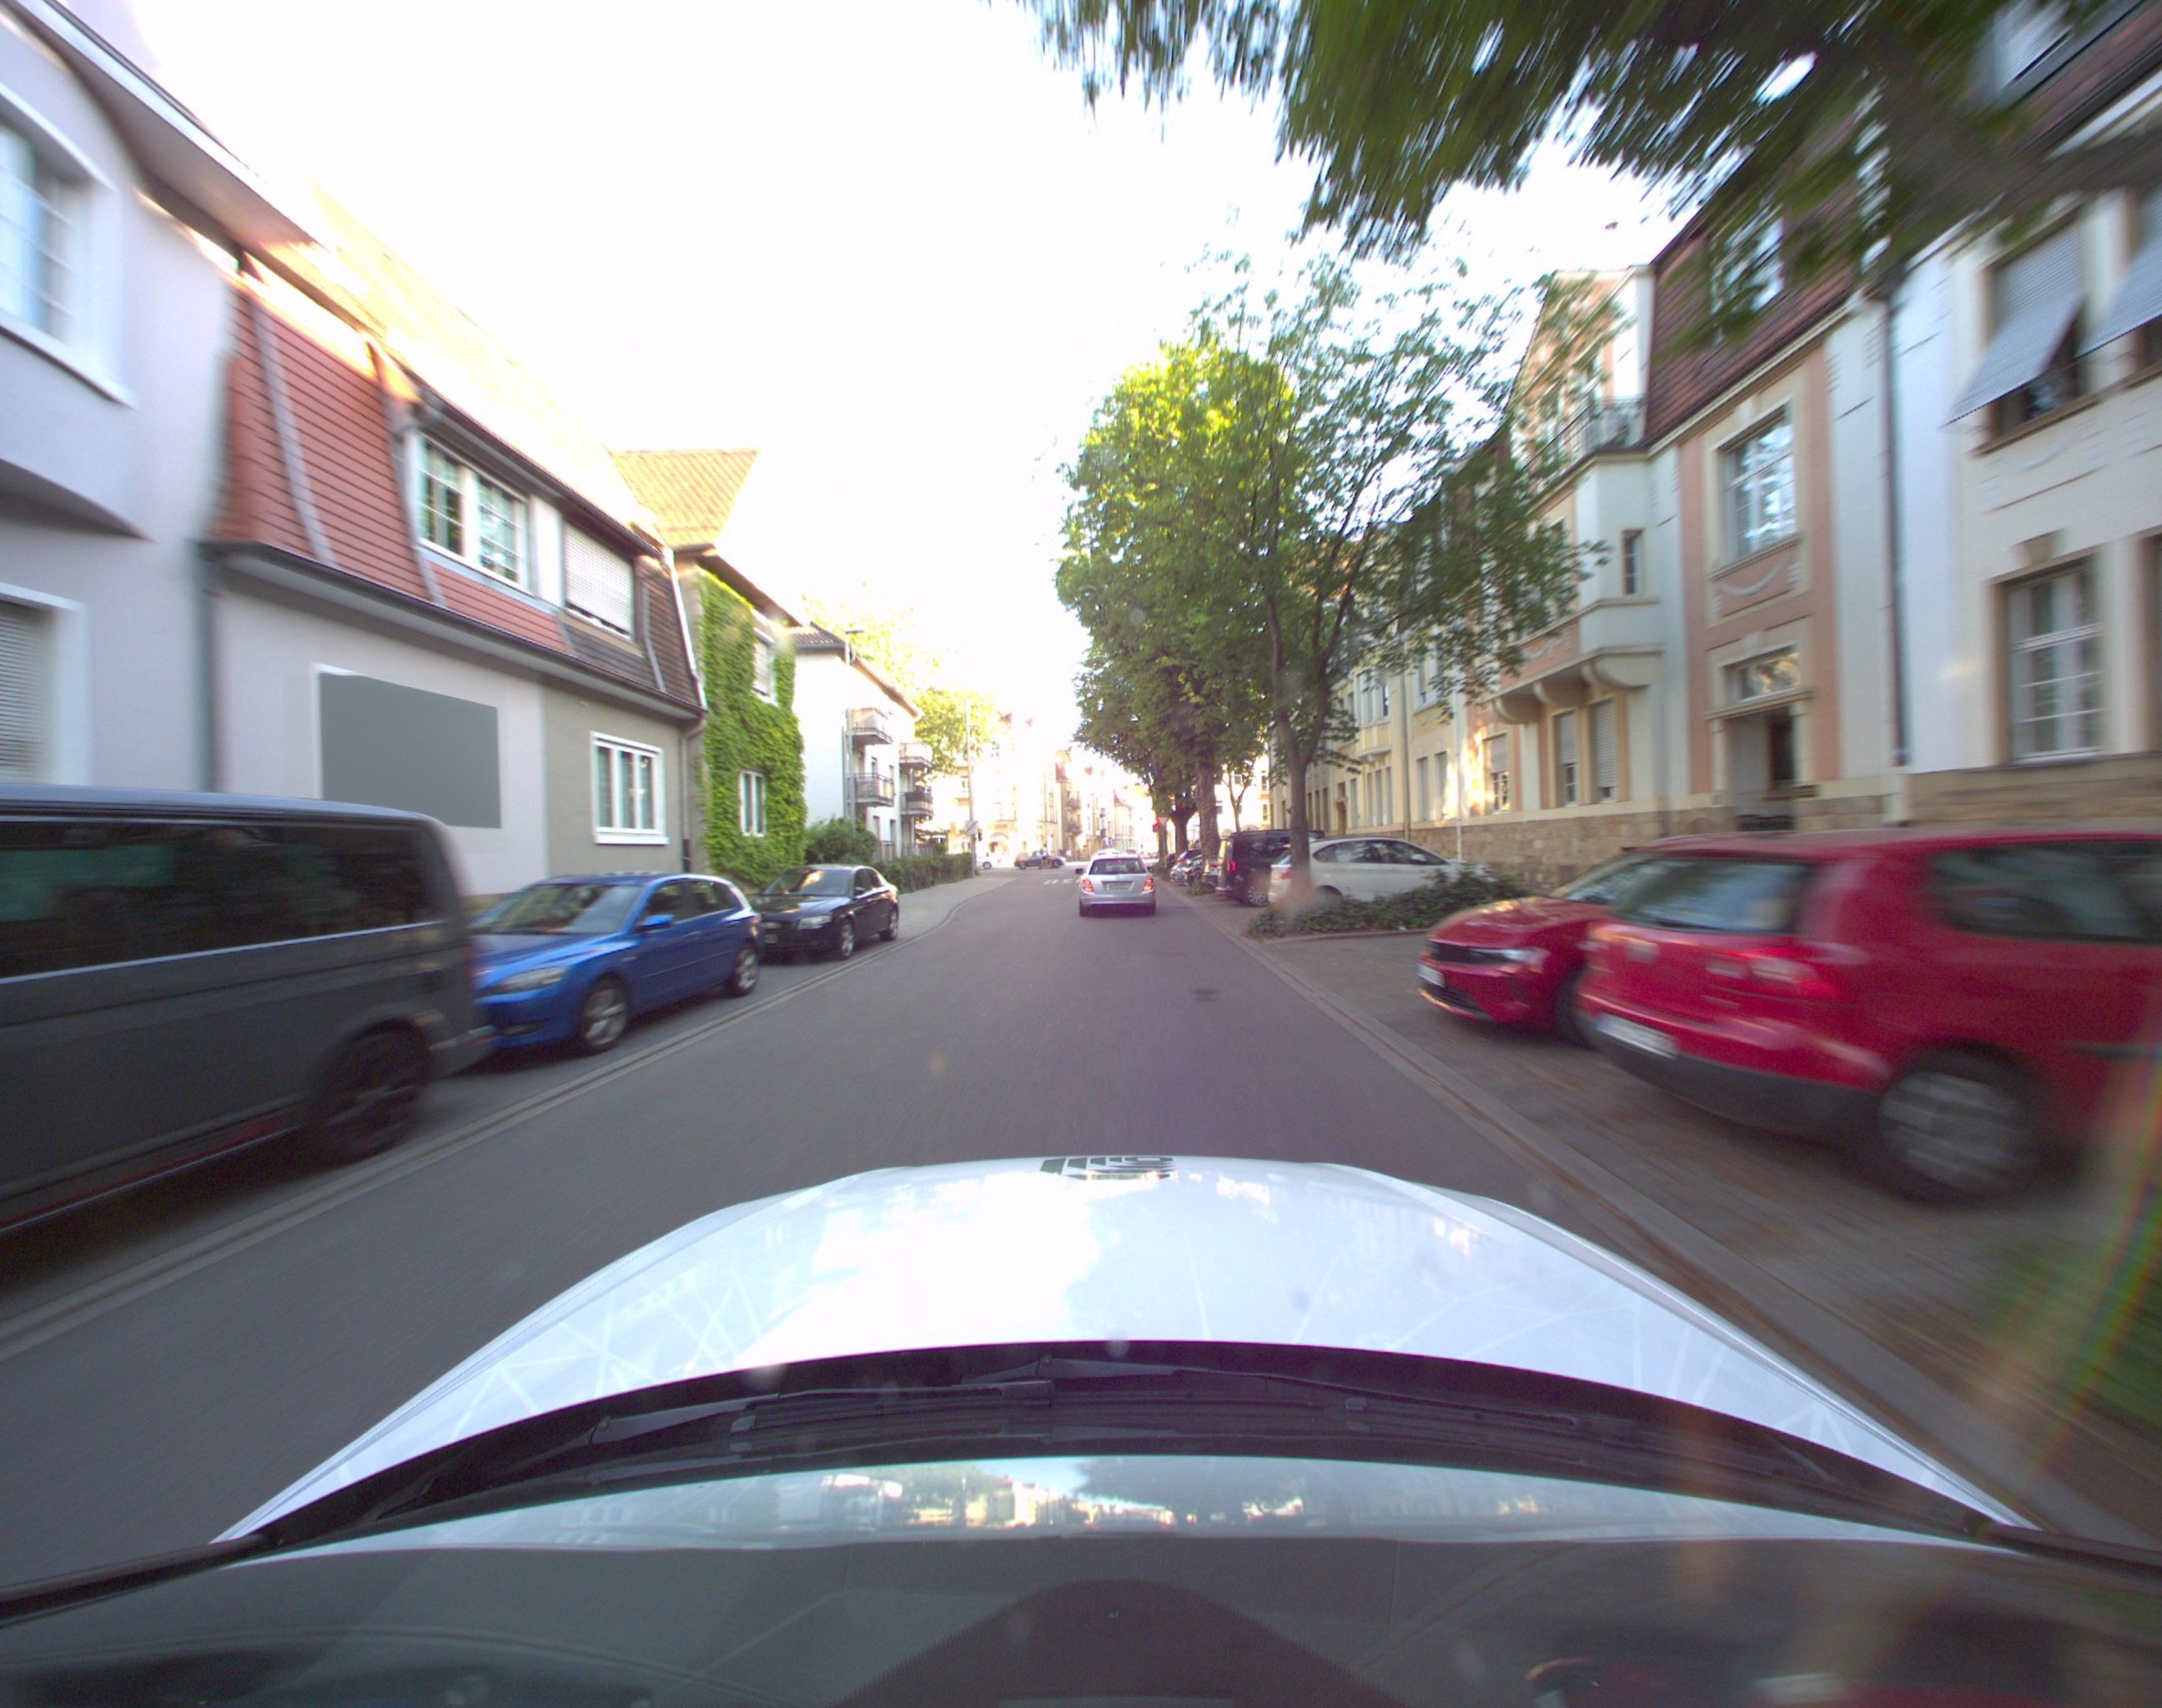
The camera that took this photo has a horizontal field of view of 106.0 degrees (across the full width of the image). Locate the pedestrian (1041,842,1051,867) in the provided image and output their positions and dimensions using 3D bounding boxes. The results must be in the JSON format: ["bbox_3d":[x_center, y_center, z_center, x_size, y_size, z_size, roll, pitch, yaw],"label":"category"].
[{"bbox_3d":[-2.675,0.055,61.809,0.641,1.866,0.410,-3,0,-2],"label":"pedestrian"}]

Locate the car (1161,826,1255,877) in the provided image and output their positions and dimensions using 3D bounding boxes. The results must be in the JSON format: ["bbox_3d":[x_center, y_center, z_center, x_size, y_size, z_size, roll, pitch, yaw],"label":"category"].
[{"bbox_3d":[6.291,-0.143,40.729,4.375,2.364,2.000,-2,0,-1],"label":"car"}]

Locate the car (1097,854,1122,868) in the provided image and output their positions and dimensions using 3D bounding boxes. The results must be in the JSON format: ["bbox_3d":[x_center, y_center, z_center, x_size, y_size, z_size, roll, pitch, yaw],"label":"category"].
[{"bbox_3d":[3.525,0.885,101.097,1.977,1.585,4.019,-1,1,18],"label":"car"}]

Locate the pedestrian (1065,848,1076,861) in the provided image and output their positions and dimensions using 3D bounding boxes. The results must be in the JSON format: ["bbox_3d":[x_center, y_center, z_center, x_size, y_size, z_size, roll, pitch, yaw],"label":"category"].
[{"bbox_3d":[-1.377,0.037,104.338,1.215,1.721,1.505,-1,0,5],"label":"pedestrian"}]

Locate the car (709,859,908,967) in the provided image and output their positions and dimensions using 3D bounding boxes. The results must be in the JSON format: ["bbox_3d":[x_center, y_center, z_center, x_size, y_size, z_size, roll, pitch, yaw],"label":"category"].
[{"bbox_3d":[-4.310,0.848,13.664,1.688,1.447,4.360,0,1,2],"label":"car"}]

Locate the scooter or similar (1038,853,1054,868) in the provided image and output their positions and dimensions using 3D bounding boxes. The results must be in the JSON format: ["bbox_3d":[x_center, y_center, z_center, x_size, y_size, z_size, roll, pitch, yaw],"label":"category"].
[{"bbox_3d":[-2.631,0.475,61.812,1.172,1.052,0.409,-3,0,-2],"label":"scooter or similar"}]

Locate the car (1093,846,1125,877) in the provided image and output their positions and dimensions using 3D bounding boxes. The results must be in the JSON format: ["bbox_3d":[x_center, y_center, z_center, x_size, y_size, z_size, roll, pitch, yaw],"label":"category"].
[{"bbox_3d":[1.574,0.367,44.331,1.617,1.570,3.683,-1,1,3],"label":"car"}]

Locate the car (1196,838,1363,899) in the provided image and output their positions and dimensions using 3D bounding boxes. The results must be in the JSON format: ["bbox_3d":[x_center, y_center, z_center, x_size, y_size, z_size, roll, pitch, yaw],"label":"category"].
[{"bbox_3d":[5.530,0.382,23.108,4.274,1.541,1.876,-2,1,-1],"label":"car"}]

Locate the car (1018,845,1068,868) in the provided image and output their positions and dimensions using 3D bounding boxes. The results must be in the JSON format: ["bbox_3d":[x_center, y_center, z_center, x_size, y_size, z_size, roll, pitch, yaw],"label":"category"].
[{"bbox_3d":[-3.037,0.187,64.490,3.883,1.642,1.750,-2,1,-7],"label":"car"}]

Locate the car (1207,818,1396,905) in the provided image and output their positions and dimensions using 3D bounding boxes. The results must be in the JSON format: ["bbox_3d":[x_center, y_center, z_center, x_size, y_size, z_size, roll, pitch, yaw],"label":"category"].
[{"bbox_3d":[5.478,0.175,20.632,4.206,1.896,1.905,-3,0,0],"label":"car"}]

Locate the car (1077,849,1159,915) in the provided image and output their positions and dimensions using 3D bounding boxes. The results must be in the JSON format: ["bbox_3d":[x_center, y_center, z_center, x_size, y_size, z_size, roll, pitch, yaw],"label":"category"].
[{"bbox_3d":[0.917,0.616,19.765,1.776,1.437,3.853,-1,0,3],"label":"car"}]

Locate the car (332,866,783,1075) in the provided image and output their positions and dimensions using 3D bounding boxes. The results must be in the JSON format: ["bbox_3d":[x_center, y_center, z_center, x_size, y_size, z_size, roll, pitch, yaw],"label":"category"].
[{"bbox_3d":[-4.690,0.898,8.198,1.647,1.447,4.240,0,1,2],"label":"car"}]

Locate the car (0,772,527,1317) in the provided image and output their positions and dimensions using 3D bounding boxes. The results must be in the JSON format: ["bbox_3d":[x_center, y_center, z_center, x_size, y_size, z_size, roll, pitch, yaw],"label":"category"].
[{"bbox_3d":[-4.851,0.686,3.154,1.975,1.947,4.853,0,1,1],"label":"car"}]

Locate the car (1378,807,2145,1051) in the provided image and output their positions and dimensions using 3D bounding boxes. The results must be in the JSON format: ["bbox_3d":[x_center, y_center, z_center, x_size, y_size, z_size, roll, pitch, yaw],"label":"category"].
[{"bbox_3d":[4.919,0.527,6.502,4.391,1.419,1.879,-4,0,4],"label":"car"}]

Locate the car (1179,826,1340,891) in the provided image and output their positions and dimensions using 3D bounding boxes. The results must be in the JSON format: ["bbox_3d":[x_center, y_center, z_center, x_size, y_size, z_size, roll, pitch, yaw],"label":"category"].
[{"bbox_3d":[6.007,0.141,27.885,5.037,1.989,2.072,-2,1,-1],"label":"car"}]

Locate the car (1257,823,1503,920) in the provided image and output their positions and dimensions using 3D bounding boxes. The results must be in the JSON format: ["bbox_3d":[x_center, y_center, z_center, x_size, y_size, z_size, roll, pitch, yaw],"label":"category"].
[{"bbox_3d":[5.696,0.321,15.926,4.095,1.571,1.878,-3,0,2],"label":"car"}]

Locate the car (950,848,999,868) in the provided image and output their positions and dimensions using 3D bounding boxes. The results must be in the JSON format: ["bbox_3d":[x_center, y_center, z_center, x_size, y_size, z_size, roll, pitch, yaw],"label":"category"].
[{"bbox_3d":[-8.710,0.334,66.726,3.889,1.515,1.701,-2,1,-11],"label":"car"}]

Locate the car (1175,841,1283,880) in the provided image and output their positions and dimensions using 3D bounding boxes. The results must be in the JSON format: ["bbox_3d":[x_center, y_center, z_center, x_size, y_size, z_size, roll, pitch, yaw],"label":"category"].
[{"bbox_3d":[6.331,0.273,35.185,4.274,1.541,1.899,-2,1,-1],"label":"car"}]

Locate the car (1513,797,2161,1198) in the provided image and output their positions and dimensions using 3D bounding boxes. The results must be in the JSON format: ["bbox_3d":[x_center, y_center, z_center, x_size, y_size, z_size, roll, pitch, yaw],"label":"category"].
[{"bbox_3d":[4.752,0.504,4.042,4.171,1.475,1.854,-4,0,4],"label":"car"}]

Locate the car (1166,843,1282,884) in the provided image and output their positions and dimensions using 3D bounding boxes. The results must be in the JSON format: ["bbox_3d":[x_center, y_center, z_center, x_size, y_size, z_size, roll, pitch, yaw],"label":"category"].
[{"bbox_3d":[5.706,0.356,32.823,4.274,1.417,1.876,-3,1,-1],"label":"car"}]
